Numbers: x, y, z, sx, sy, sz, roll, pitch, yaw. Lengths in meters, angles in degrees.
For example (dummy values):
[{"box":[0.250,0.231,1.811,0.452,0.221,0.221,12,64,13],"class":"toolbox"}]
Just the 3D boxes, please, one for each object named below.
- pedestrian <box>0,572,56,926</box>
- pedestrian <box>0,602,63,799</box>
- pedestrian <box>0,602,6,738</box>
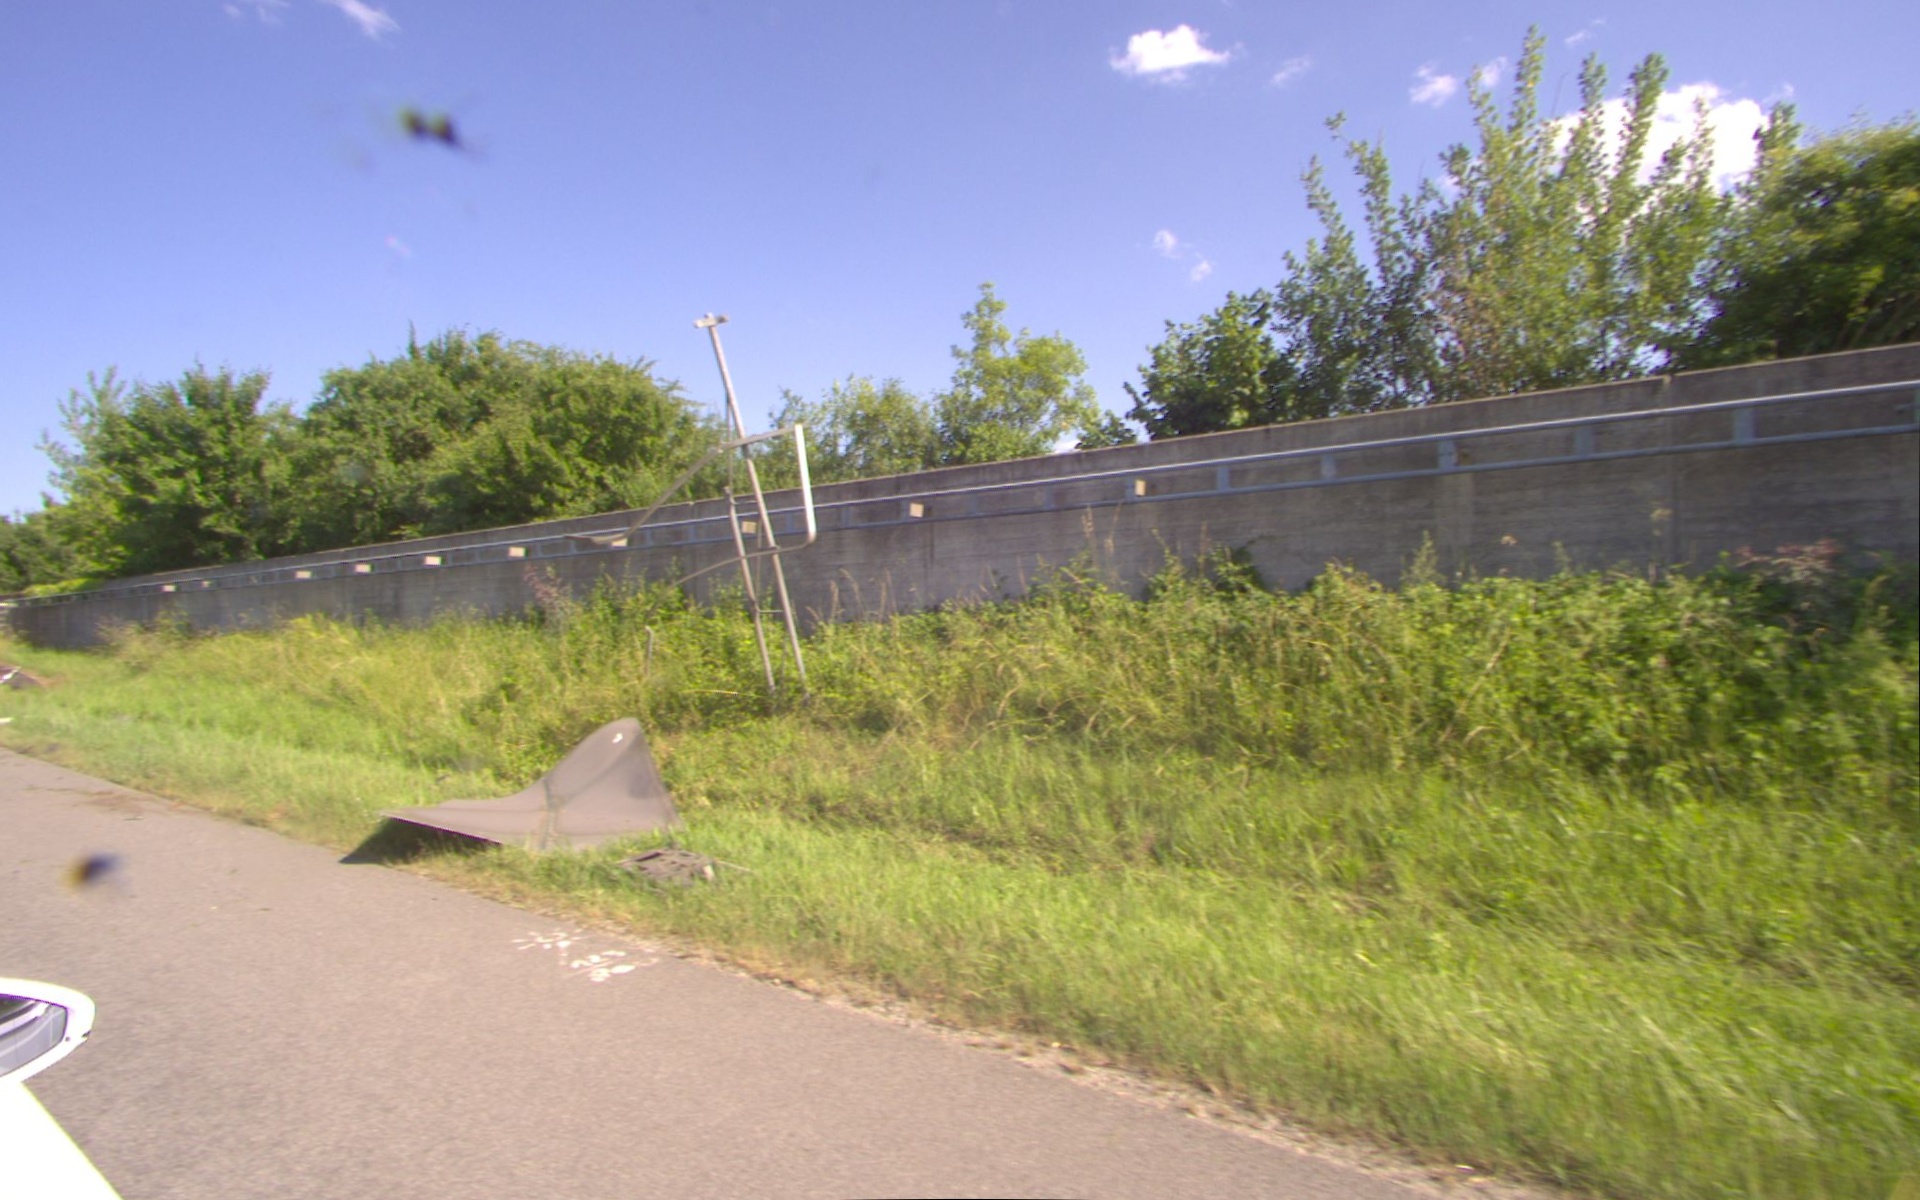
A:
[{"box":[-5.226,0.733,4.786,0.880,1.718,1.122,0,1,32],"class":"pedestrian"},{"box":[-8.801,0.864,8.633,1.253,1.676,0.960,-1,1,6],"class":"pedestrian"},{"box":[-12.851,0.901,12.776,0.745,1.747,0.891,-1,-1,39],"class":"pedestrian"}]
